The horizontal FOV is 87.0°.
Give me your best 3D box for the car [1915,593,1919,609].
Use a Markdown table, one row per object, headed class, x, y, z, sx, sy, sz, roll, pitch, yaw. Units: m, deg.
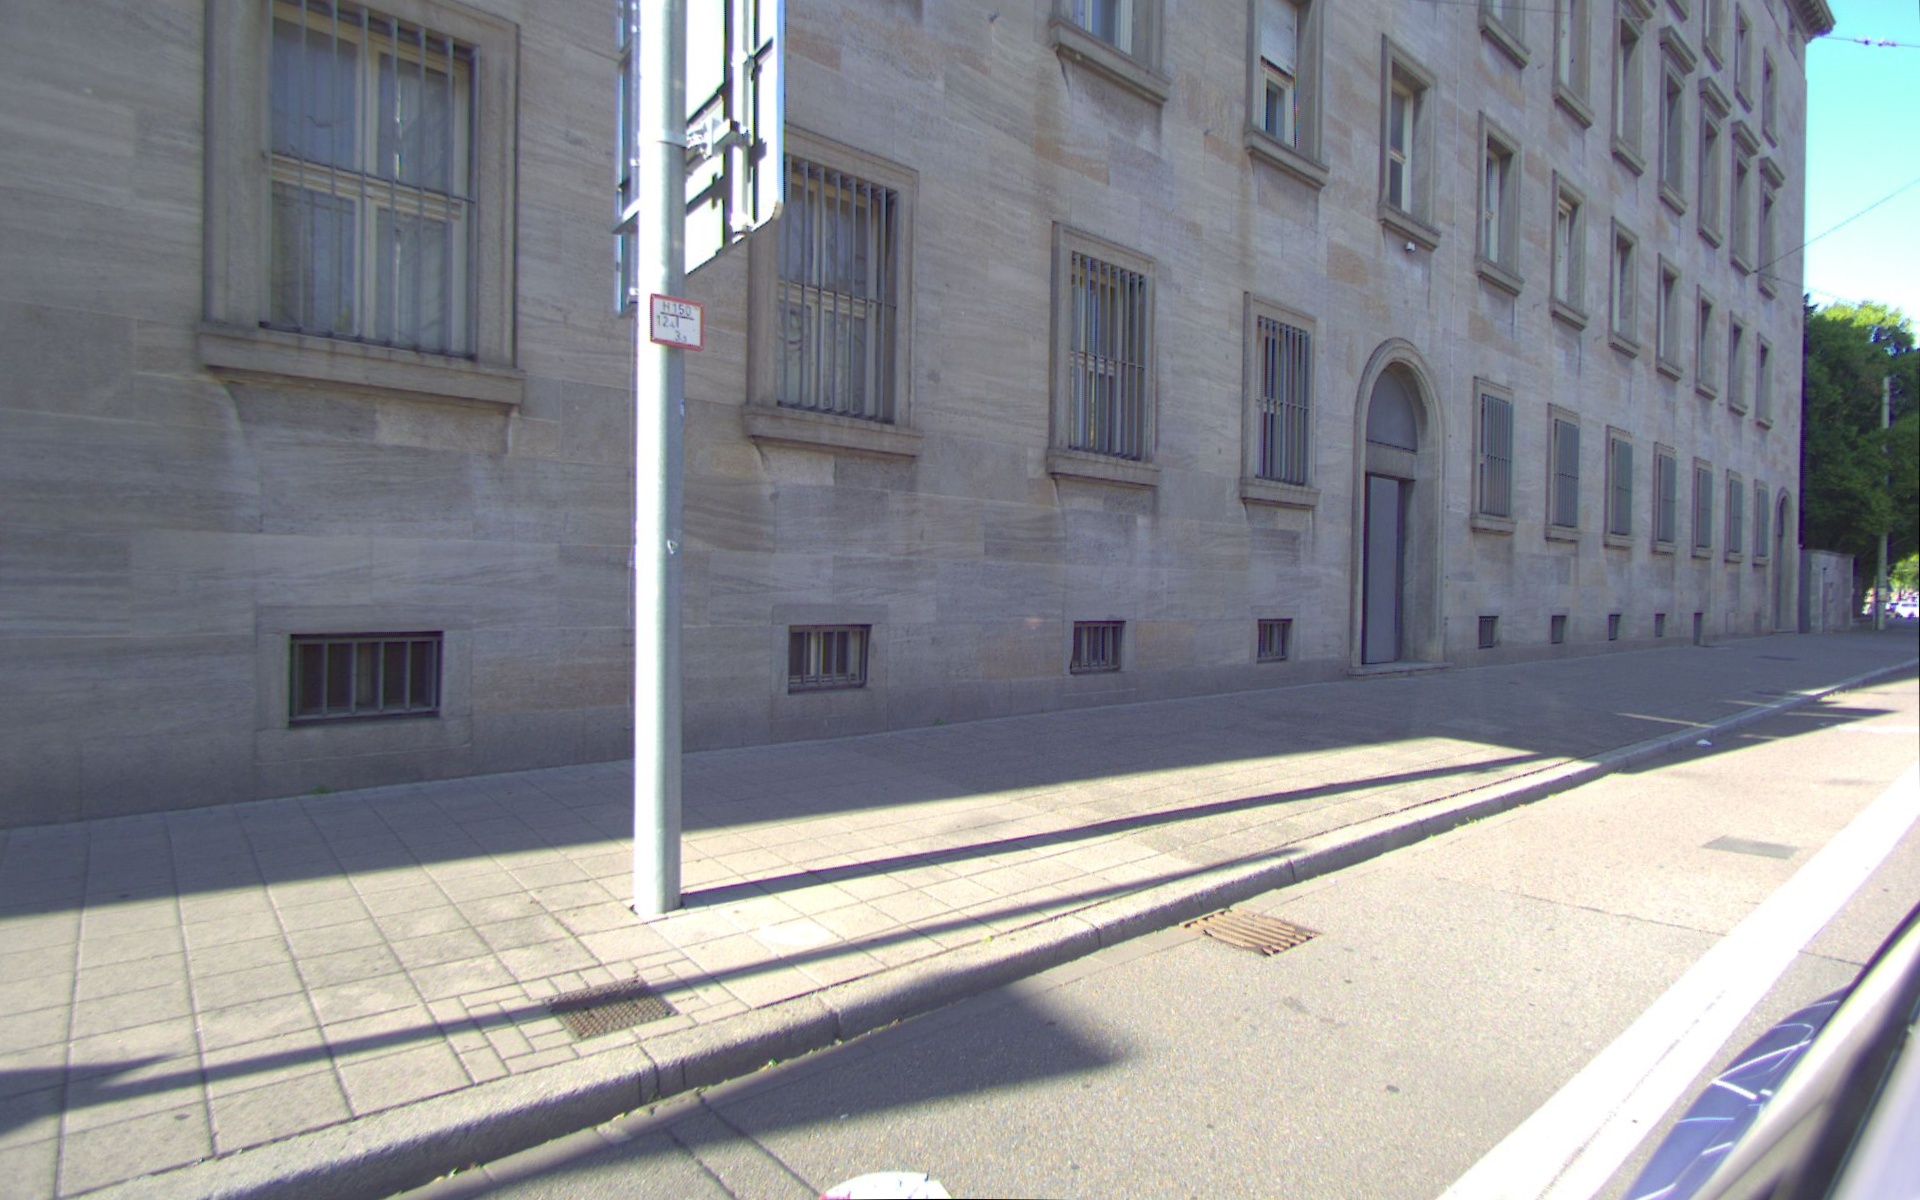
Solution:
| class | x | y | z | sx | sy | sz | roll | pitch | yaw |
| --- | --- | --- | --- | --- | --- | --- | --- | --- | --- |
| car | 90.794 | 0.122 | 94.784 | 1.765 | 1.455 | 3.777 | 2 | 1 | 41 |
